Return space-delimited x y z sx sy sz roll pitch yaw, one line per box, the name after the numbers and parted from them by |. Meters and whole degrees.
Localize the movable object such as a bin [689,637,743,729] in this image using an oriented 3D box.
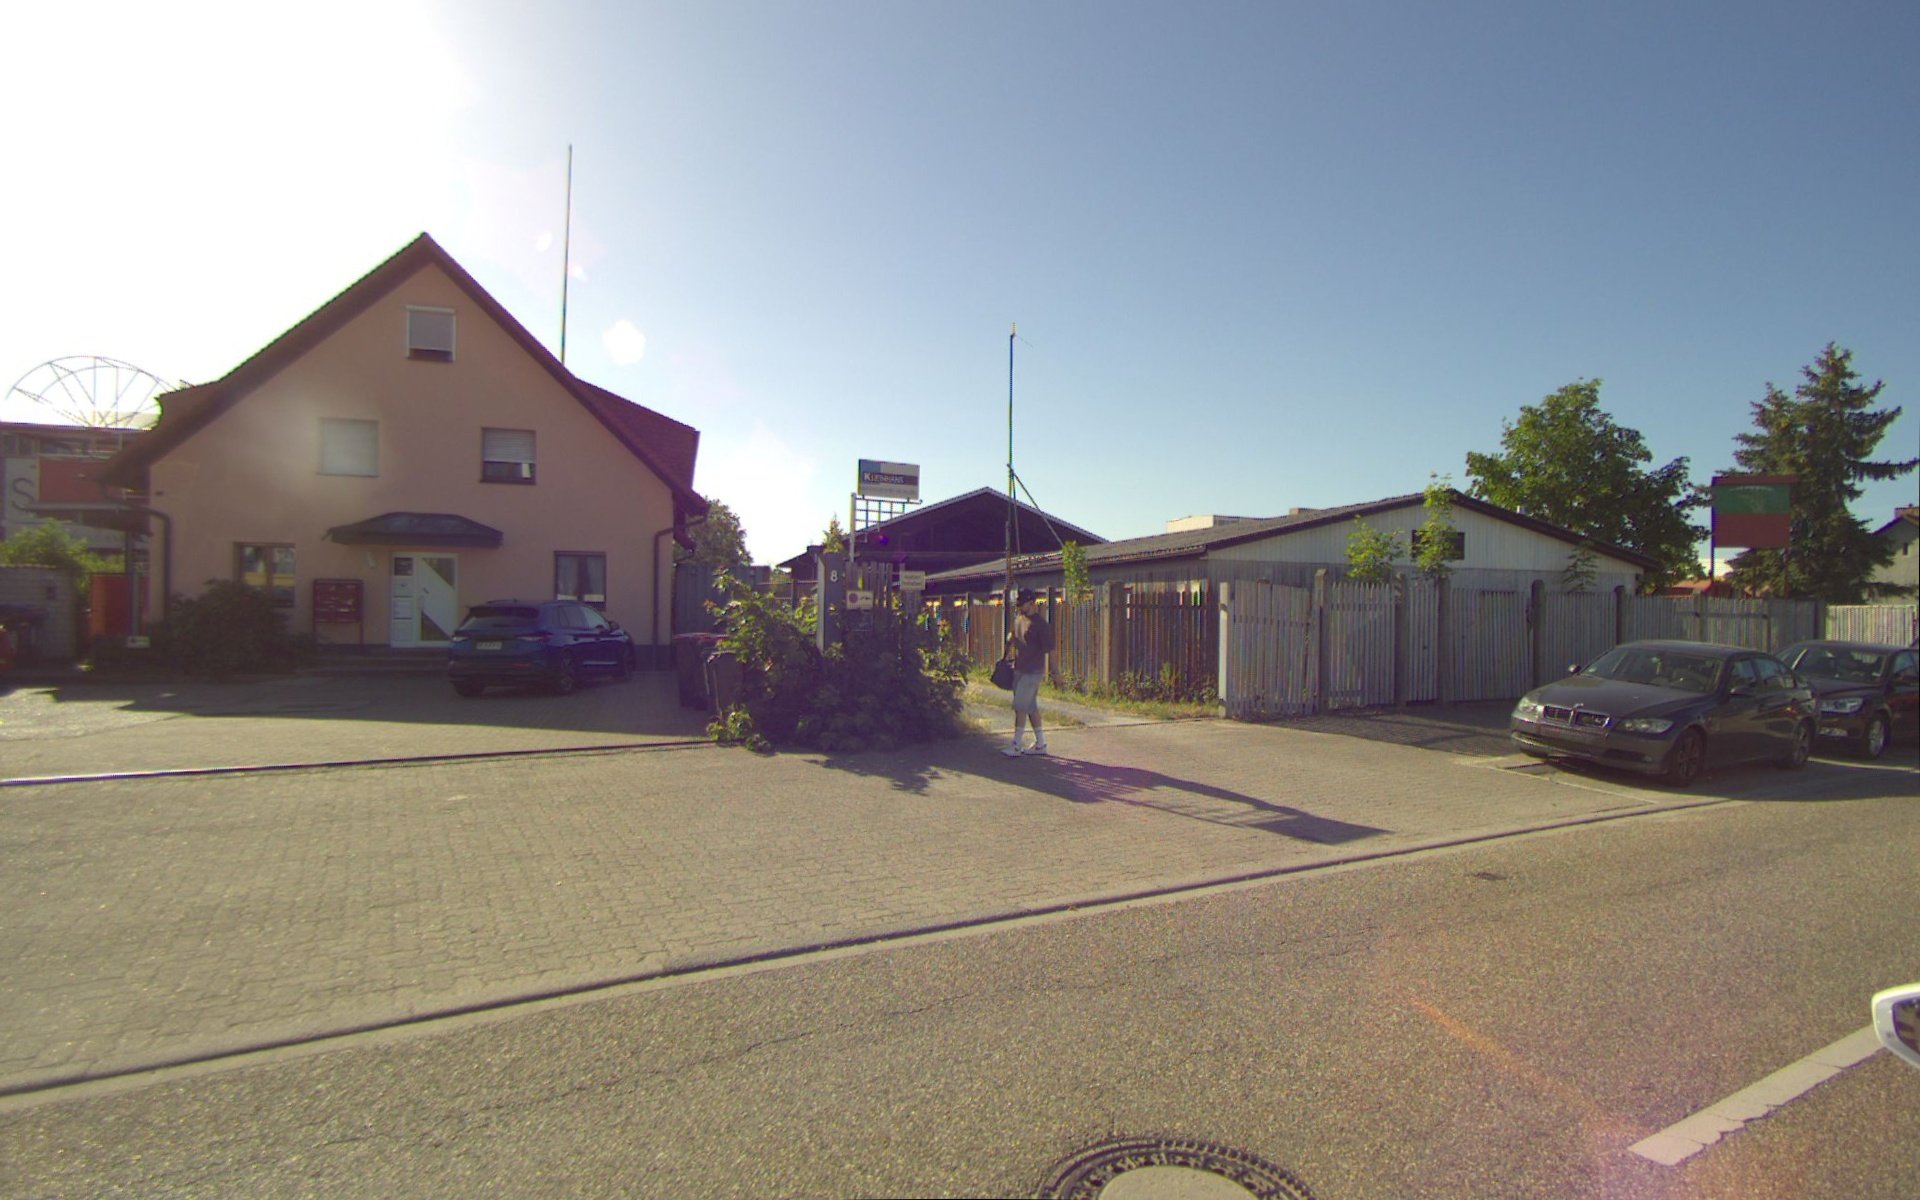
-3.185 1.062 13.084 0.630 1.152 0.498 1 0 -19 | movable object such as a bin

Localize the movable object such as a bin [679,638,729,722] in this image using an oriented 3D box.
-3.597 1.106 14.088 0.630 1.123 0.554 1 0 -19 | movable object such as a bin

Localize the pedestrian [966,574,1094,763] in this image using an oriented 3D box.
0.729 0.681 10.558 0.913 1.862 0.989 1 -1 -39 | pedestrian

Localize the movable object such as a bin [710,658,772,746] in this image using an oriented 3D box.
-2.473 1.131 11.323 0.630 0.935 0.498 1 0 -19 | movable object such as a bin

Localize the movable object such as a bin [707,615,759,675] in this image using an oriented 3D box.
-5.344 1.047 23.664 1.152 1.389 0.429 1 0 -9 | movable object such as a bin

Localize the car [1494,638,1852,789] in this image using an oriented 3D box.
8.487 1.197 11.868 4.503 1.422 1.749 1 -1 -30 | car

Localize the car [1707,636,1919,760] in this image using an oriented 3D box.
12.634 1.279 14.270 4.121 1.488 1.687 1 -1 -28 | car

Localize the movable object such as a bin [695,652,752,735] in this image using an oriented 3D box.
-2.914 1.136 12.378 0.630 0.967 0.498 1 0 -19 | movable object such as a bin

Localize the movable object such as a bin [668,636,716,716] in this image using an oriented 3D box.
-3.939 1.100 14.755 0.630 1.123 0.554 1 0 -19 | movable object such as a bin

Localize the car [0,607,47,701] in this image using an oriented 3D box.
-17.768 0.877 16.507 3.803 1.556 1.562 1 0 -10 | car

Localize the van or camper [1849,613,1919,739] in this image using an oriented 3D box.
16.704 1.221 16.502 4.215 1.951 1.882 2 -2 -29 | van or camper

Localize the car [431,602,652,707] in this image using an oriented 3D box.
-7.258 0.881 17.933 1.960 1.638 4.002 -1 0 6 | car
